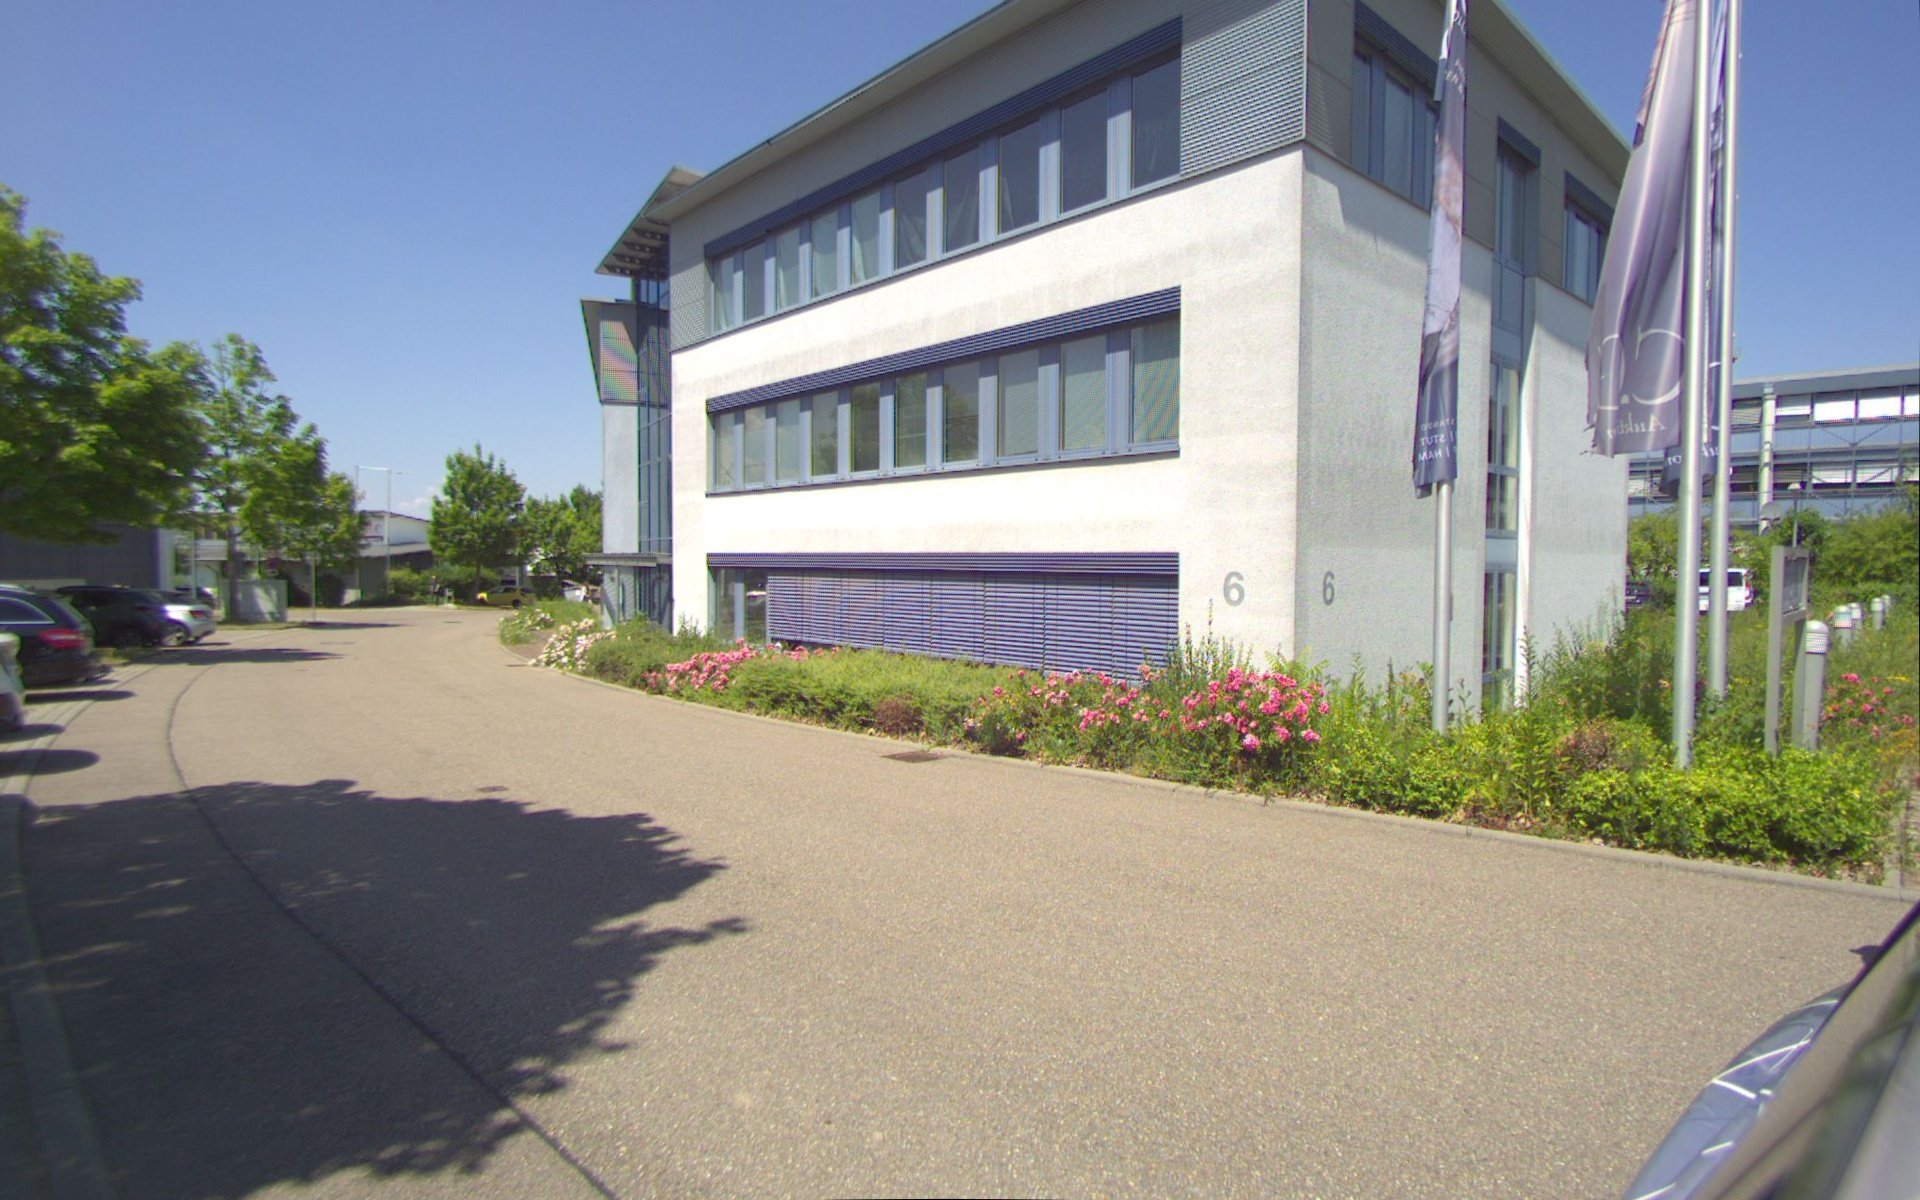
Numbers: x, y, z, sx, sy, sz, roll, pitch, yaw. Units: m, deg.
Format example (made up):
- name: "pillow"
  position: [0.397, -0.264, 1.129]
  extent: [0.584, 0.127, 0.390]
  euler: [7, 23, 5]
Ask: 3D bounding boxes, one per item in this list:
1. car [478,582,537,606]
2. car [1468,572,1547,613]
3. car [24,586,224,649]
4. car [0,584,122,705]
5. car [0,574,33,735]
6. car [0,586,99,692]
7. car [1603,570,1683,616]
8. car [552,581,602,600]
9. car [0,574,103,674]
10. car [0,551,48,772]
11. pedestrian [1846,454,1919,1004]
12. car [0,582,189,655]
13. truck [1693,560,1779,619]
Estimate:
- name: "car"
  position: [-29.370, -0.394, 65.773]
  extent: [3.162, 1.460, 1.586]
  euler: [0, 1, 9]
- name: "car"
  position: [22.133, -0.332, 40.887]
  extent: [1.783, 1.565, 3.936]
  euler: [0, 2, 45]
- name: "car"
  position: [-20.572, 0.402, 25.074]
  extent: [3.516, 1.461, 1.638]
  euler: [0, 0, -26]
- name: "car"
  position: [-13.297, 0.549, 12.747]
  extent: [4.099, 1.505, 1.660]
  euler: [0, 0, -36]
- name: "car"
  position: [-10.861, 0.500, 8.799]
  extent: [4.108, 1.505, 1.657]
  euler: [0, 0, -44]
- name: "car"
  position: [-14.958, 0.551, 14.371]
  extent: [4.107, 1.505, 1.657]
  euler: [0, 0, -43]
- name: "car"
  position: [25.360, -0.297, 37.518]
  extent: [1.783, 1.565, 3.936]
  euler: [0, 2, 45]
- name: "car"
  position: [-29.225, -0.723, 77.262]
  extent: [3.162, 1.460, 1.586]
  euler: [0, 1, 9]
- name: "car"
  position: [-16.988, 0.384, 16.686]
  extent: [4.094, 1.625, 1.662]
  euler: [0, 0, -30]
- name: "car"
  position: [-9.091, 0.460, 6.976]
  extent: [4.133, 1.663, 1.657]
  euler: [0, 0, -44]
- name: "pedestrian"
  position: [3.709, 0.429, 3.379]
  extent: [0.886, 1.843, 0.862]
  euler: [-1, 1, -27]
- name: "car"
  position: [-19.777, 0.394, 22.818]
  extent: [3.516, 1.545, 1.638]
  euler: [0, 0, -26]
- name: "truck"
  position: [26.884, -0.381, 35.018]
  extent: [1.993, 1.917, 3.938]
  euler: [0, 1, 43]
